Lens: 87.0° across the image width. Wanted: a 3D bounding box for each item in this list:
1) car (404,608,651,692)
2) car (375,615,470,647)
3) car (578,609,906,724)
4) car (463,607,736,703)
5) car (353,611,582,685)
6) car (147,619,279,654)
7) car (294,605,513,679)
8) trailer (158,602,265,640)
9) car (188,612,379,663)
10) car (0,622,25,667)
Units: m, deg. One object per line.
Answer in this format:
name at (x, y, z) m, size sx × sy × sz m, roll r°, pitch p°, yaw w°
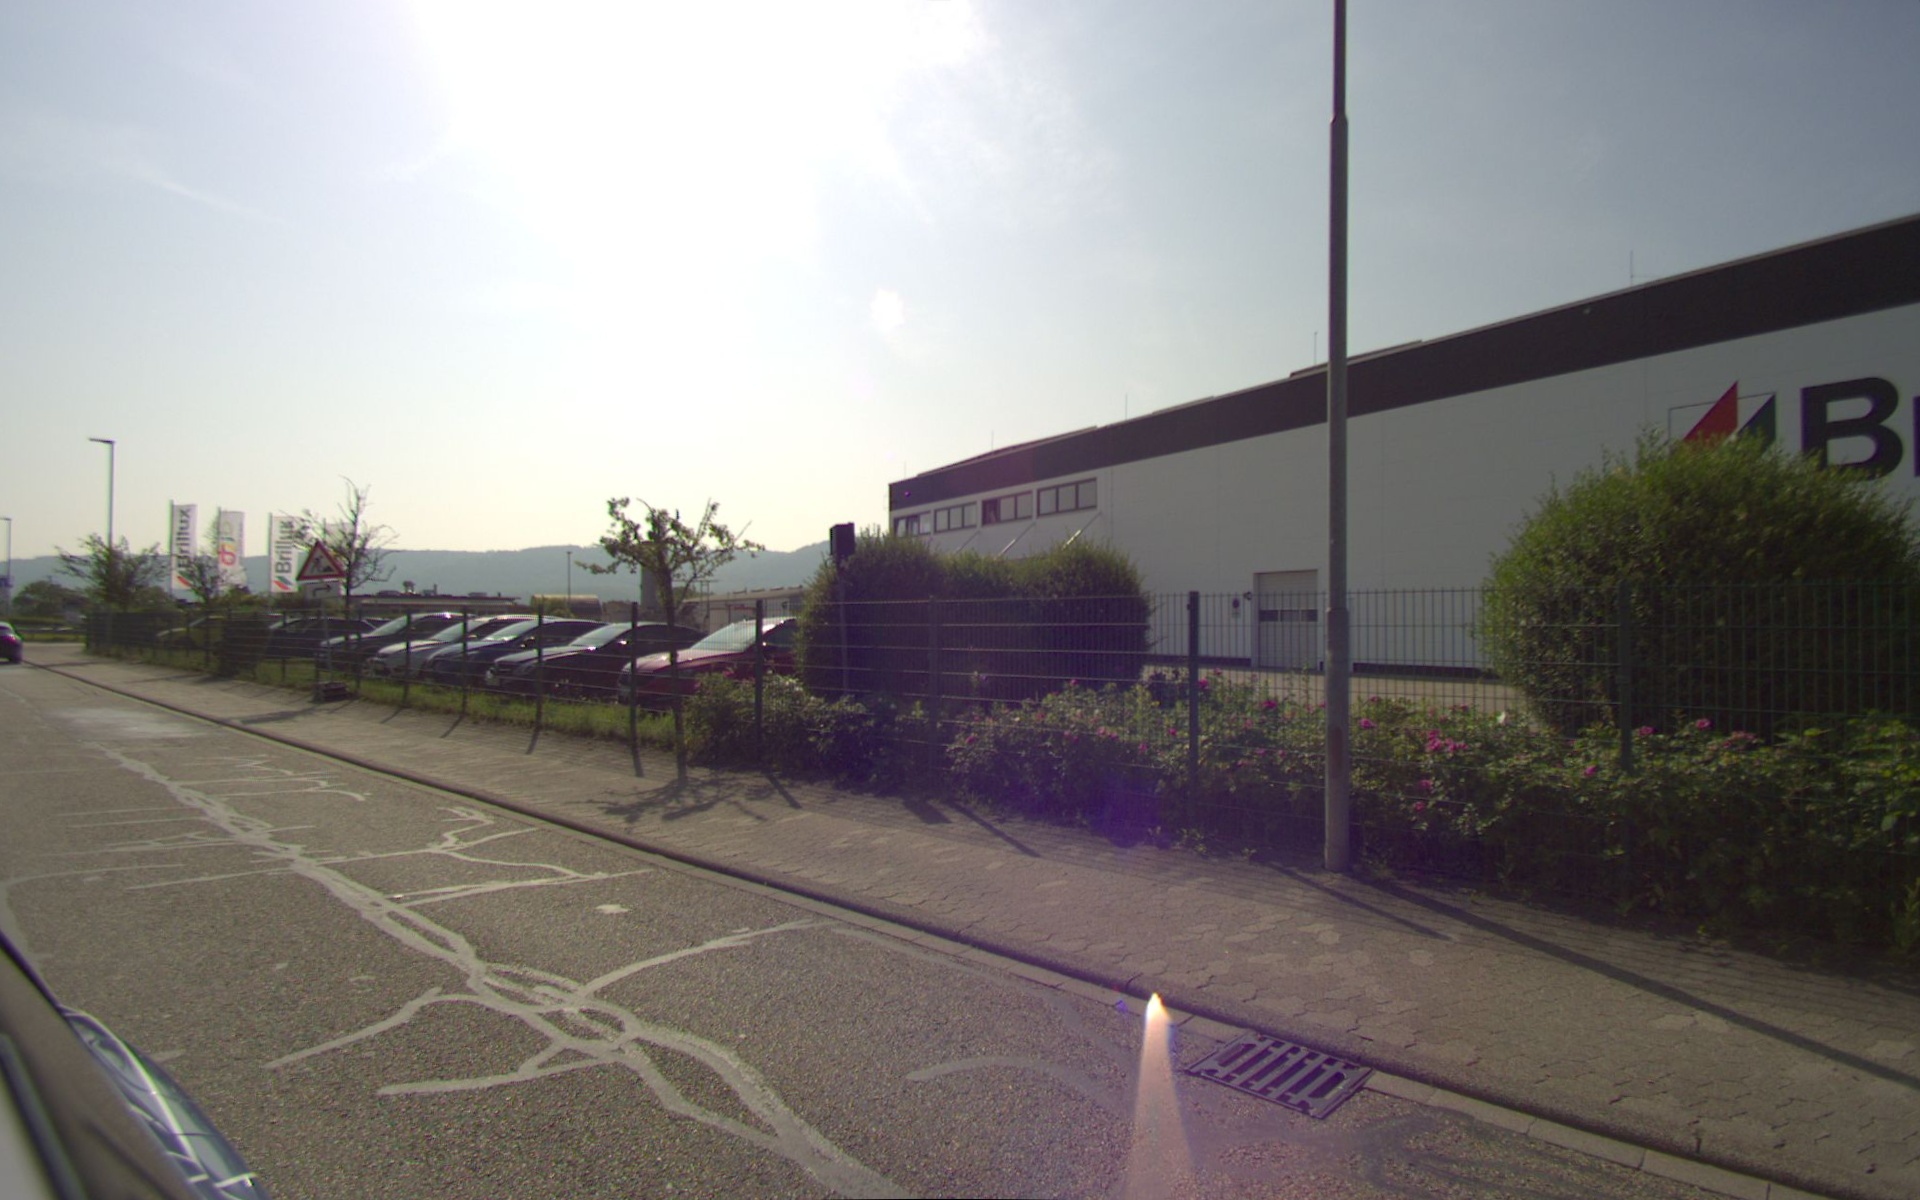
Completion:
car at (-8.334, 0.990, 19.761) m, size 1.873 × 1.455 × 3.997 m, roll -1°, pitch -4°, yaw 42°
car at (-30.048, 1.741, 56.715) m, size 4.584 × 1.765 × 2.159 m, roll 1°, pitch -2°, yaw -26°
car at (-3.081, 0.968, 15.112) m, size 1.952 × 1.455 × 4.487 m, roll -1°, pitch -4°, yaw 42°
car at (-6.092, 0.942, 17.430) m, size 1.873 × 1.455 × 3.997 m, roll -1°, pitch -4°, yaw 42°
car at (-10.552, 1.050, 21.888) m, size 1.873 × 1.455 × 3.997 m, roll -1°, pitch -4°, yaw 42°
car at (-30.811, 1.489, 41.834) m, size 1.869 × 1.378 × 4.118 m, roll -1°, pitch -2°, yaw 43°
car at (-13.006, 1.013, 23.823) m, size 1.865 × 1.579 × 4.083 m, roll -1°, pitch -4°, yaw 42°
trailer at (-56.073, 1.629, 76.043) m, size 6.221 × 2.625 × 2.862 m, roll 3°, pitch -3°, yaw -33°
car at (-21.369, 1.218, 32.131) m, size 2.078 × 1.455 × 4.635 m, roll -1°, pitch -4°, yaw 42°
car at (-33.331, 1.448, 34.245) m, size 4.417 × 1.460 × 1.972 m, roll -1°, pitch -4°, yaw 41°
